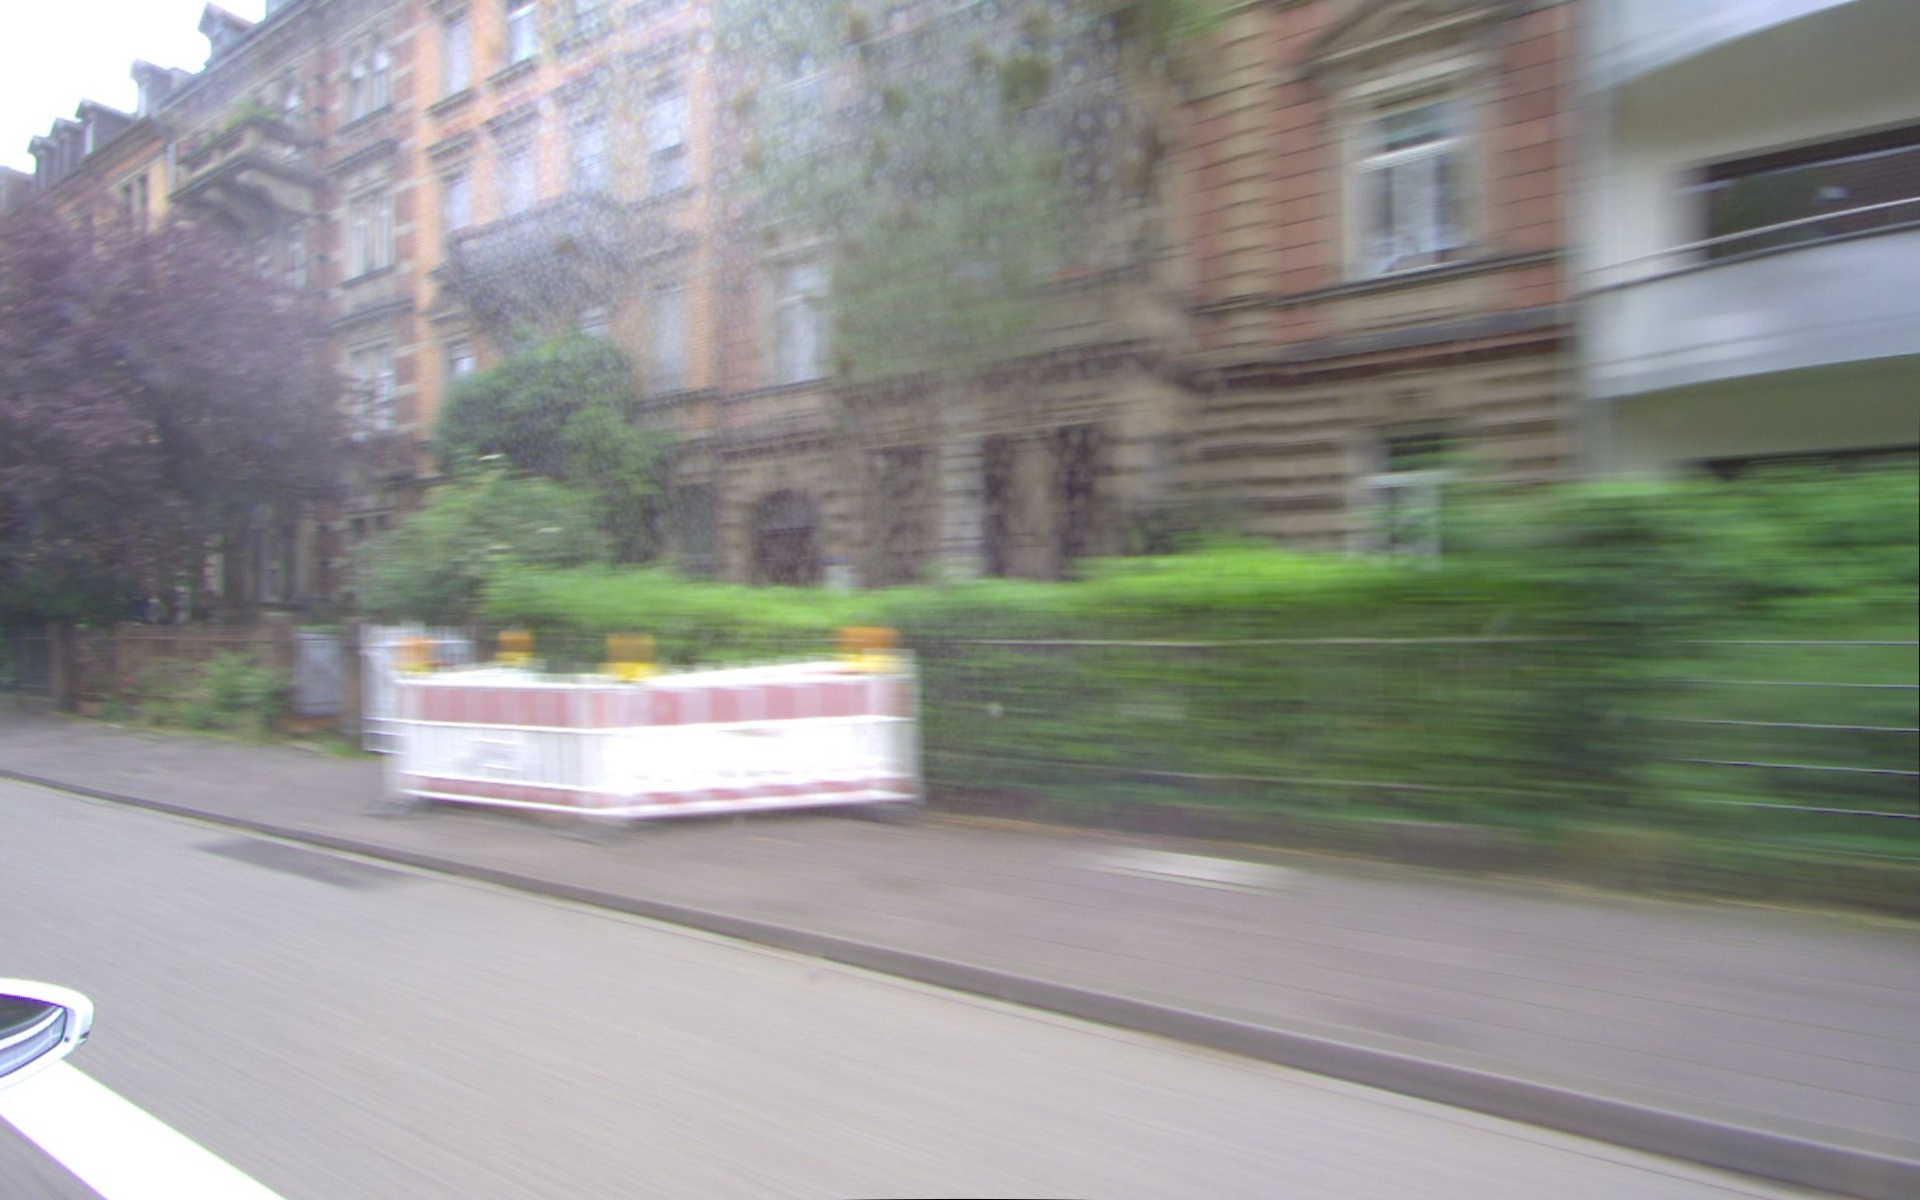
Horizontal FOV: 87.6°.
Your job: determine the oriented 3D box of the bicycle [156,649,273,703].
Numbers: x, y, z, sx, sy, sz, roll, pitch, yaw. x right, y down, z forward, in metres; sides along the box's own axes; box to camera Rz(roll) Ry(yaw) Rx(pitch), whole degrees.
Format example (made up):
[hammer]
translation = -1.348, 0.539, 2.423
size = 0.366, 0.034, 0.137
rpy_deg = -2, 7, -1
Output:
[bicycle]
translation = -13.436, 1.345, 18.086
size = 0.548, 0.875, 1.609
rpy_deg = -1, -1, 39
